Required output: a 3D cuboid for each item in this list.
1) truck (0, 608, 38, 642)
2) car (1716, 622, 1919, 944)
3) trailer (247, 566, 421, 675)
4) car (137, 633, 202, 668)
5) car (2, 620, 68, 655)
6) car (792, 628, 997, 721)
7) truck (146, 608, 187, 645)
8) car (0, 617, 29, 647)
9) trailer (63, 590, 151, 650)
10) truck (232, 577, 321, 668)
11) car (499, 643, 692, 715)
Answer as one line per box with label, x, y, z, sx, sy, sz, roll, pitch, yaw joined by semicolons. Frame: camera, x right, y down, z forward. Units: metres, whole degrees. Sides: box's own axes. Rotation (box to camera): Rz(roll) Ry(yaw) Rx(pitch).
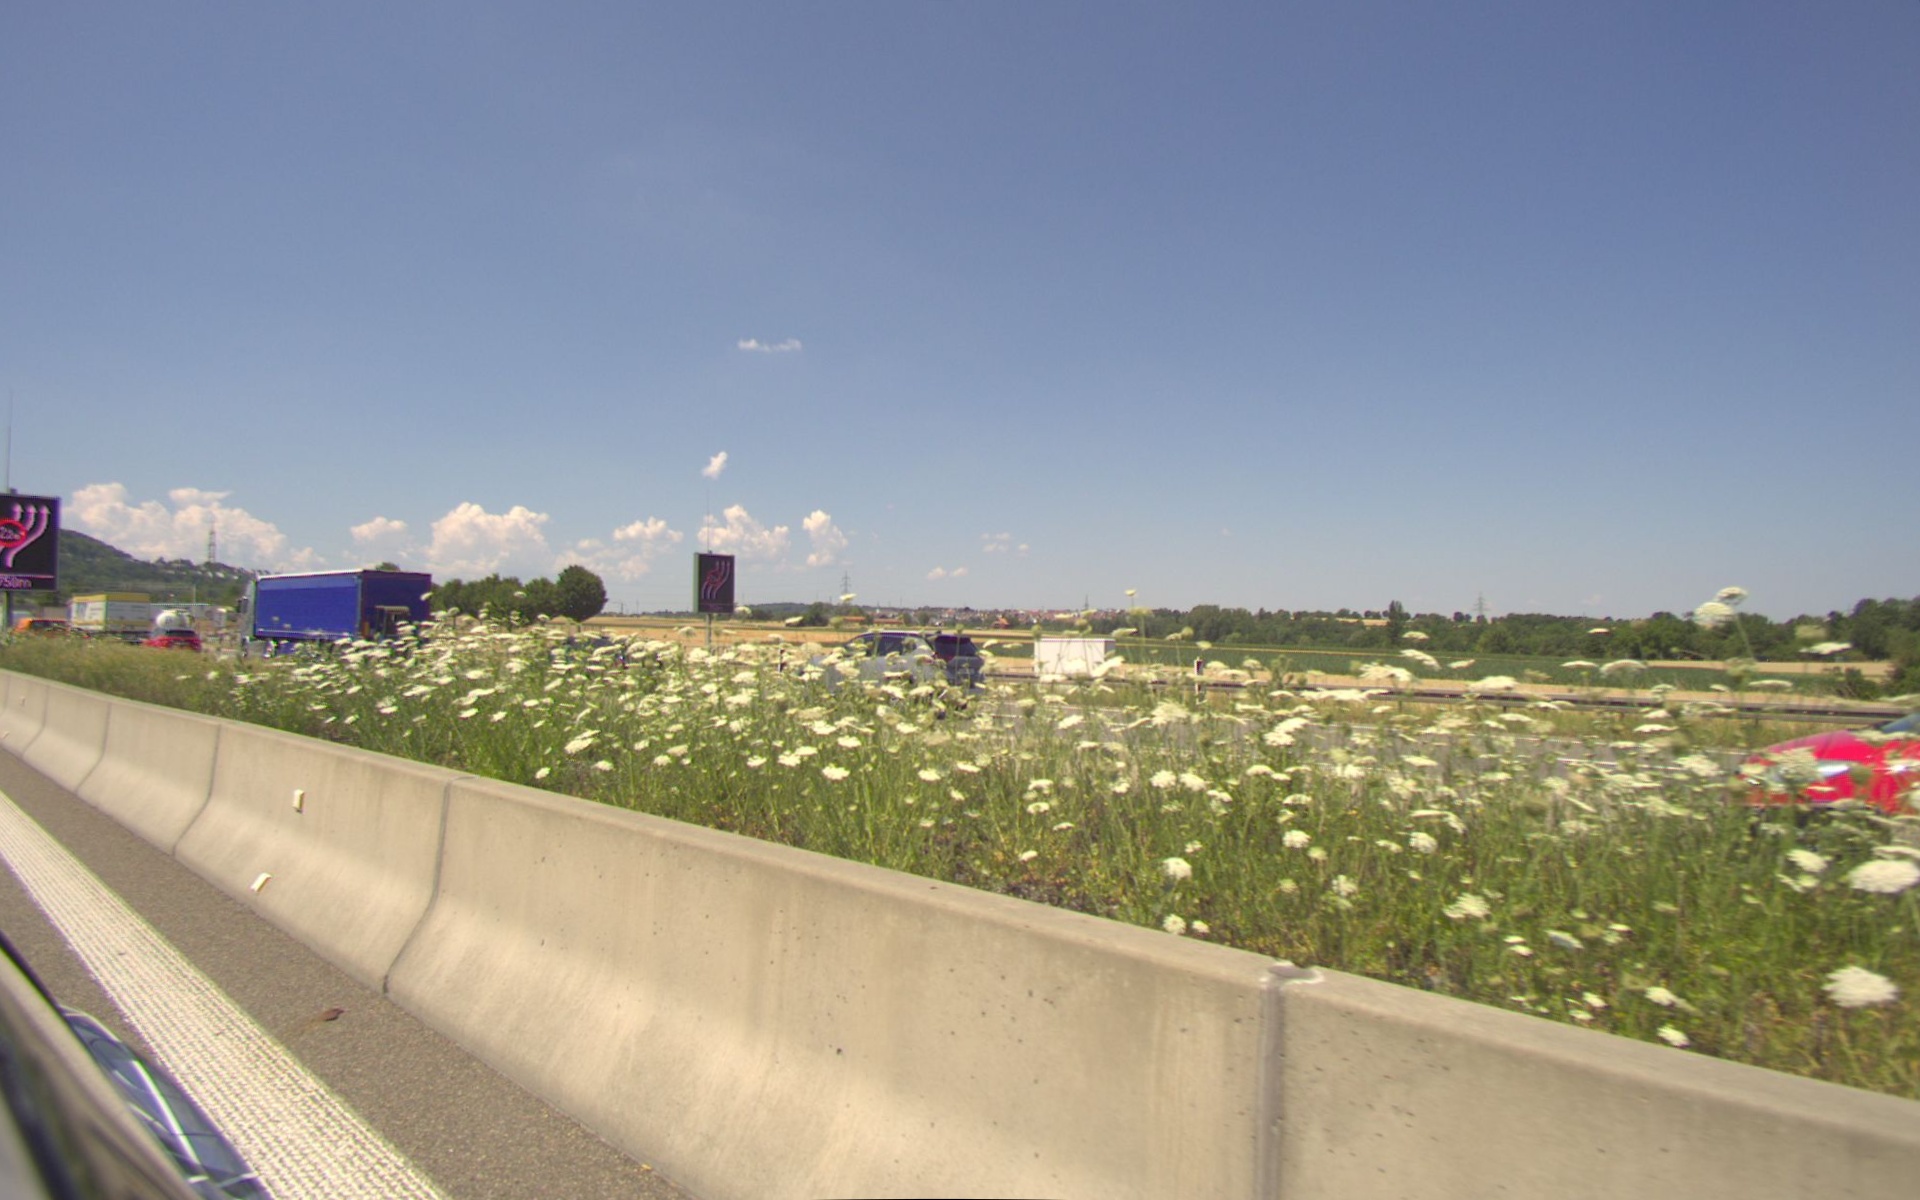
truck;-106.344;2.825;113.529;13.284;3.637;2.765;-1;-5;42
car;6.035;0.895;4.902;3.701;1.582;1.543;-2;-3;40
trailer;-27.295;0.956;43.606;14.091;4.118;2.361;-2;-3;42
car;-36.432;2.296;46.601;4.227;1.519;1.571;-2;-3;42
car;-46.270;1.828;50.585;4.934;1.590;1.875;0;0;41
car;-1.411;1.461;20.770;4.078;1.733;1.813;-1;-4;41
truck;-88.159;3.000;112.597;2.861;3.806;13.318;4;-4;-36
car;-80.359;2.706;85.344;5.808;2.520;2.025;-2;-3;41
trailer;-64.051;1.580;75.812;14.121;4.160;2.780;-2;-3;41
truck;-32.790;1.110;48.503;4.658;4.118;2.386;-2;-3;42
car;-7.681;1.595;21.150;4.275;1.334;1.814;-2;-4;39
